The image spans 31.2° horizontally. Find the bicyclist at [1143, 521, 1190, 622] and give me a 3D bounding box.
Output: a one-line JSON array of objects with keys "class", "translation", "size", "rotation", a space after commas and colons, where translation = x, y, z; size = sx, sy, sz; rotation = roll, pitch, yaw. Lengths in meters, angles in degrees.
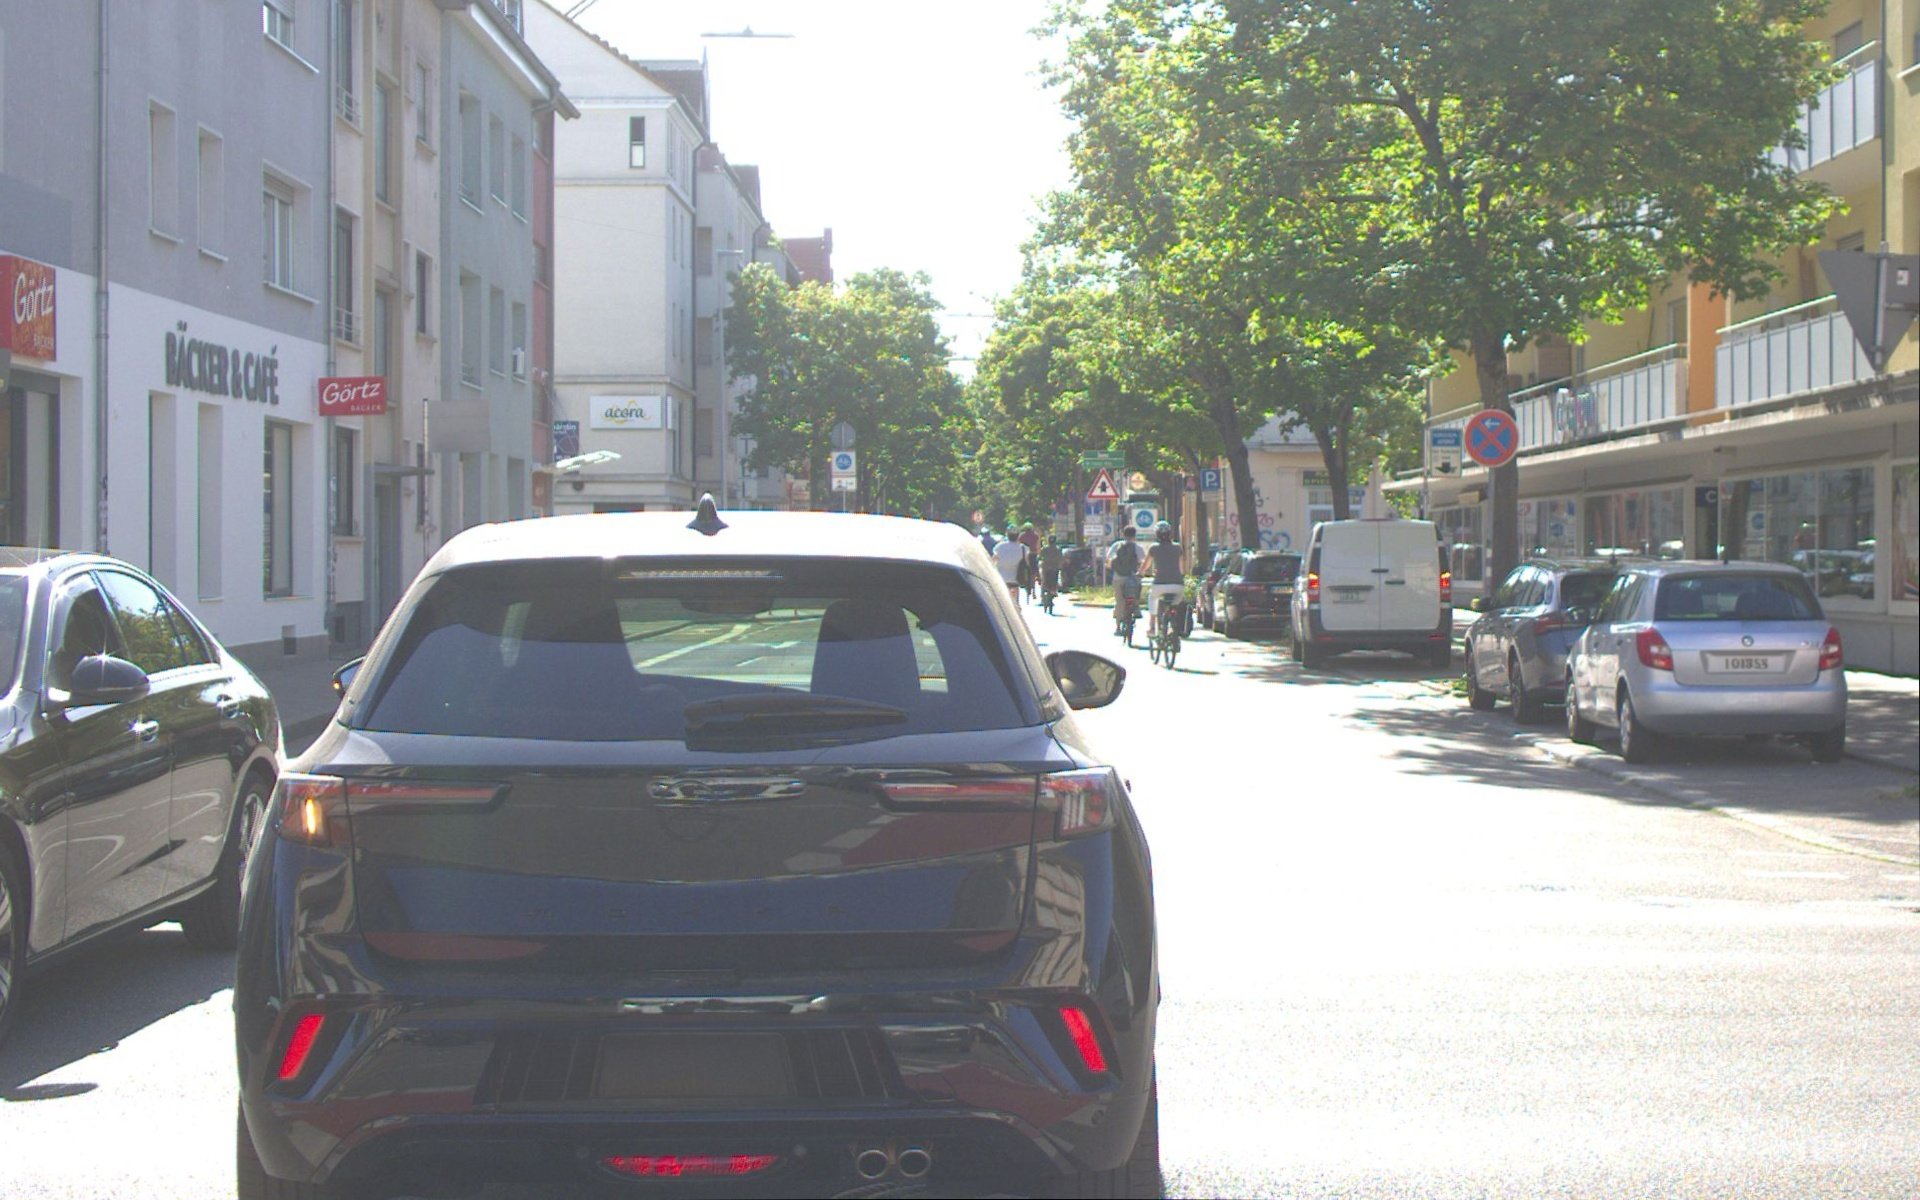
[{"class": "bicyclist", "translation": [2.592, -0.362, 43.212], "size": [0.547, 1.257, 0.803], "rotation": [0, 1, 1]}]

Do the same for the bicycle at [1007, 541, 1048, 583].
[{"class": "bicycle", "translation": [1.571, -0.894, 80.651], "size": [0.856, 0.941, 2.307], "rotation": [2, 1, 0]}]

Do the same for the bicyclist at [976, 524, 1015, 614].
[{"class": "bicyclist", "translation": [0.552, -0.477, 52.927], "size": [0.588, 1.378, 0.823], "rotation": [0, 1, 1]}]

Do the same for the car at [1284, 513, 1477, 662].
[{"class": "car", "translation": [5.441, -0.196, 45.011], "size": [2.046, 1.840, 4.584], "rotation": [0, 1, 1]}]

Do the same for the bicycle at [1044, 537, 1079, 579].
[{"class": "bicycle", "translation": [2.075, -0.866, 70.359], "size": [0.691, 0.863, 1.876], "rotation": [0, 1, 1]}]

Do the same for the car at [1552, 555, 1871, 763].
[{"class": "car", "translation": [5.725, 0.403, 26.556], "size": [1.712, 1.478, 3.480], "rotation": [0, 1, 0]}]

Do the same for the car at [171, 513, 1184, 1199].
[{"class": "car", "translation": [-0.504, 0.604, 7.996], "size": [1.762, 1.553, 4.000], "rotation": [0, 1, 0]}]

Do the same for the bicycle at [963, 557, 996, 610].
[{"class": "bicycle", "translation": [0.395, -0.341, 69.726], "size": [0.632, 1.037, 1.795], "rotation": [0, 1, 0]}]

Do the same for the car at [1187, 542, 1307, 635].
[{"class": "car", "translation": [4.746, -0.215, 57.189], "size": [1.712, 1.478, 3.381], "rotation": [0, 1, 0]}]

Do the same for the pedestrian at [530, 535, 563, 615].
[{"class": "pedestrian", "translation": [-7.630, -0.472, 63.443], "size": [0.577, 1.462, 0.703], "rotation": [0, 1, -5]}]

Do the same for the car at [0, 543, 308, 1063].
[{"class": "car", "translation": [-3.478, 0.553, 10.834], "size": [1.805, 1.408, 4.426], "rotation": [-1, 1, 2]}]

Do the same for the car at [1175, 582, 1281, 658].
[{"class": "car", "translation": [4.938, 0.351, 63.612], "size": [1.712, 1.310, 3.381], "rotation": [0, 1, 0]}]

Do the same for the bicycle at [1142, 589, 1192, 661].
[{"class": "bicycle", "translation": [2.598, 0.304, 43.246], "size": [0.547, 0.863, 1.876], "rotation": [0, 1, 1]}]

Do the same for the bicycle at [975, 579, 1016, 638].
[{"class": "bicycle", "translation": [0.554, 0.127, 52.883], "size": [0.620, 0.863, 1.876], "rotation": [0, 1, 1]}]

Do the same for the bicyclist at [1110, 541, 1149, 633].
[{"class": "bicyclist", "translation": [2.565, -0.206, 52.065], "size": [0.547, 1.378, 0.823], "rotation": [0, 1, 1]}]

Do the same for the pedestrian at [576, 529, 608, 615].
[{"class": "pedestrian", "translation": [-6.802, -0.514, 63.565], "size": [0.577, 1.577, 0.708], "rotation": [0, 1, -5]}]

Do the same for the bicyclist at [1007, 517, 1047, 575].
[{"class": "bicyclist", "translation": [1.577, -1.265, 80.638], "size": [0.856, 1.310, 1.210], "rotation": [2, 1, 0]}]

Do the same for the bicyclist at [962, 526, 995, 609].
[{"class": "bicyclist", "translation": [0.373, -0.657, 69.341], "size": [0.632, 1.663, 1.050], "rotation": [0, 1, 0]}]

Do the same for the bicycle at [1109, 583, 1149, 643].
[{"class": "bicycle", "translation": [2.554, 0.194, 52.111], "size": [0.547, 0.863, 1.876], "rotation": [0, 1, 1]}]

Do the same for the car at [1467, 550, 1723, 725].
[{"class": "car", "translation": [5.711, 0.300, 31.273], "size": [1.712, 1.478, 3.381], "rotation": [0, 1, 0]}]

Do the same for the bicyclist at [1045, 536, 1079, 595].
[{"class": "bicyclist", "translation": [2.088, -0.709, 70.606], "size": [0.692, 1.189, 0.595], "rotation": [0, 1, 1]}]
